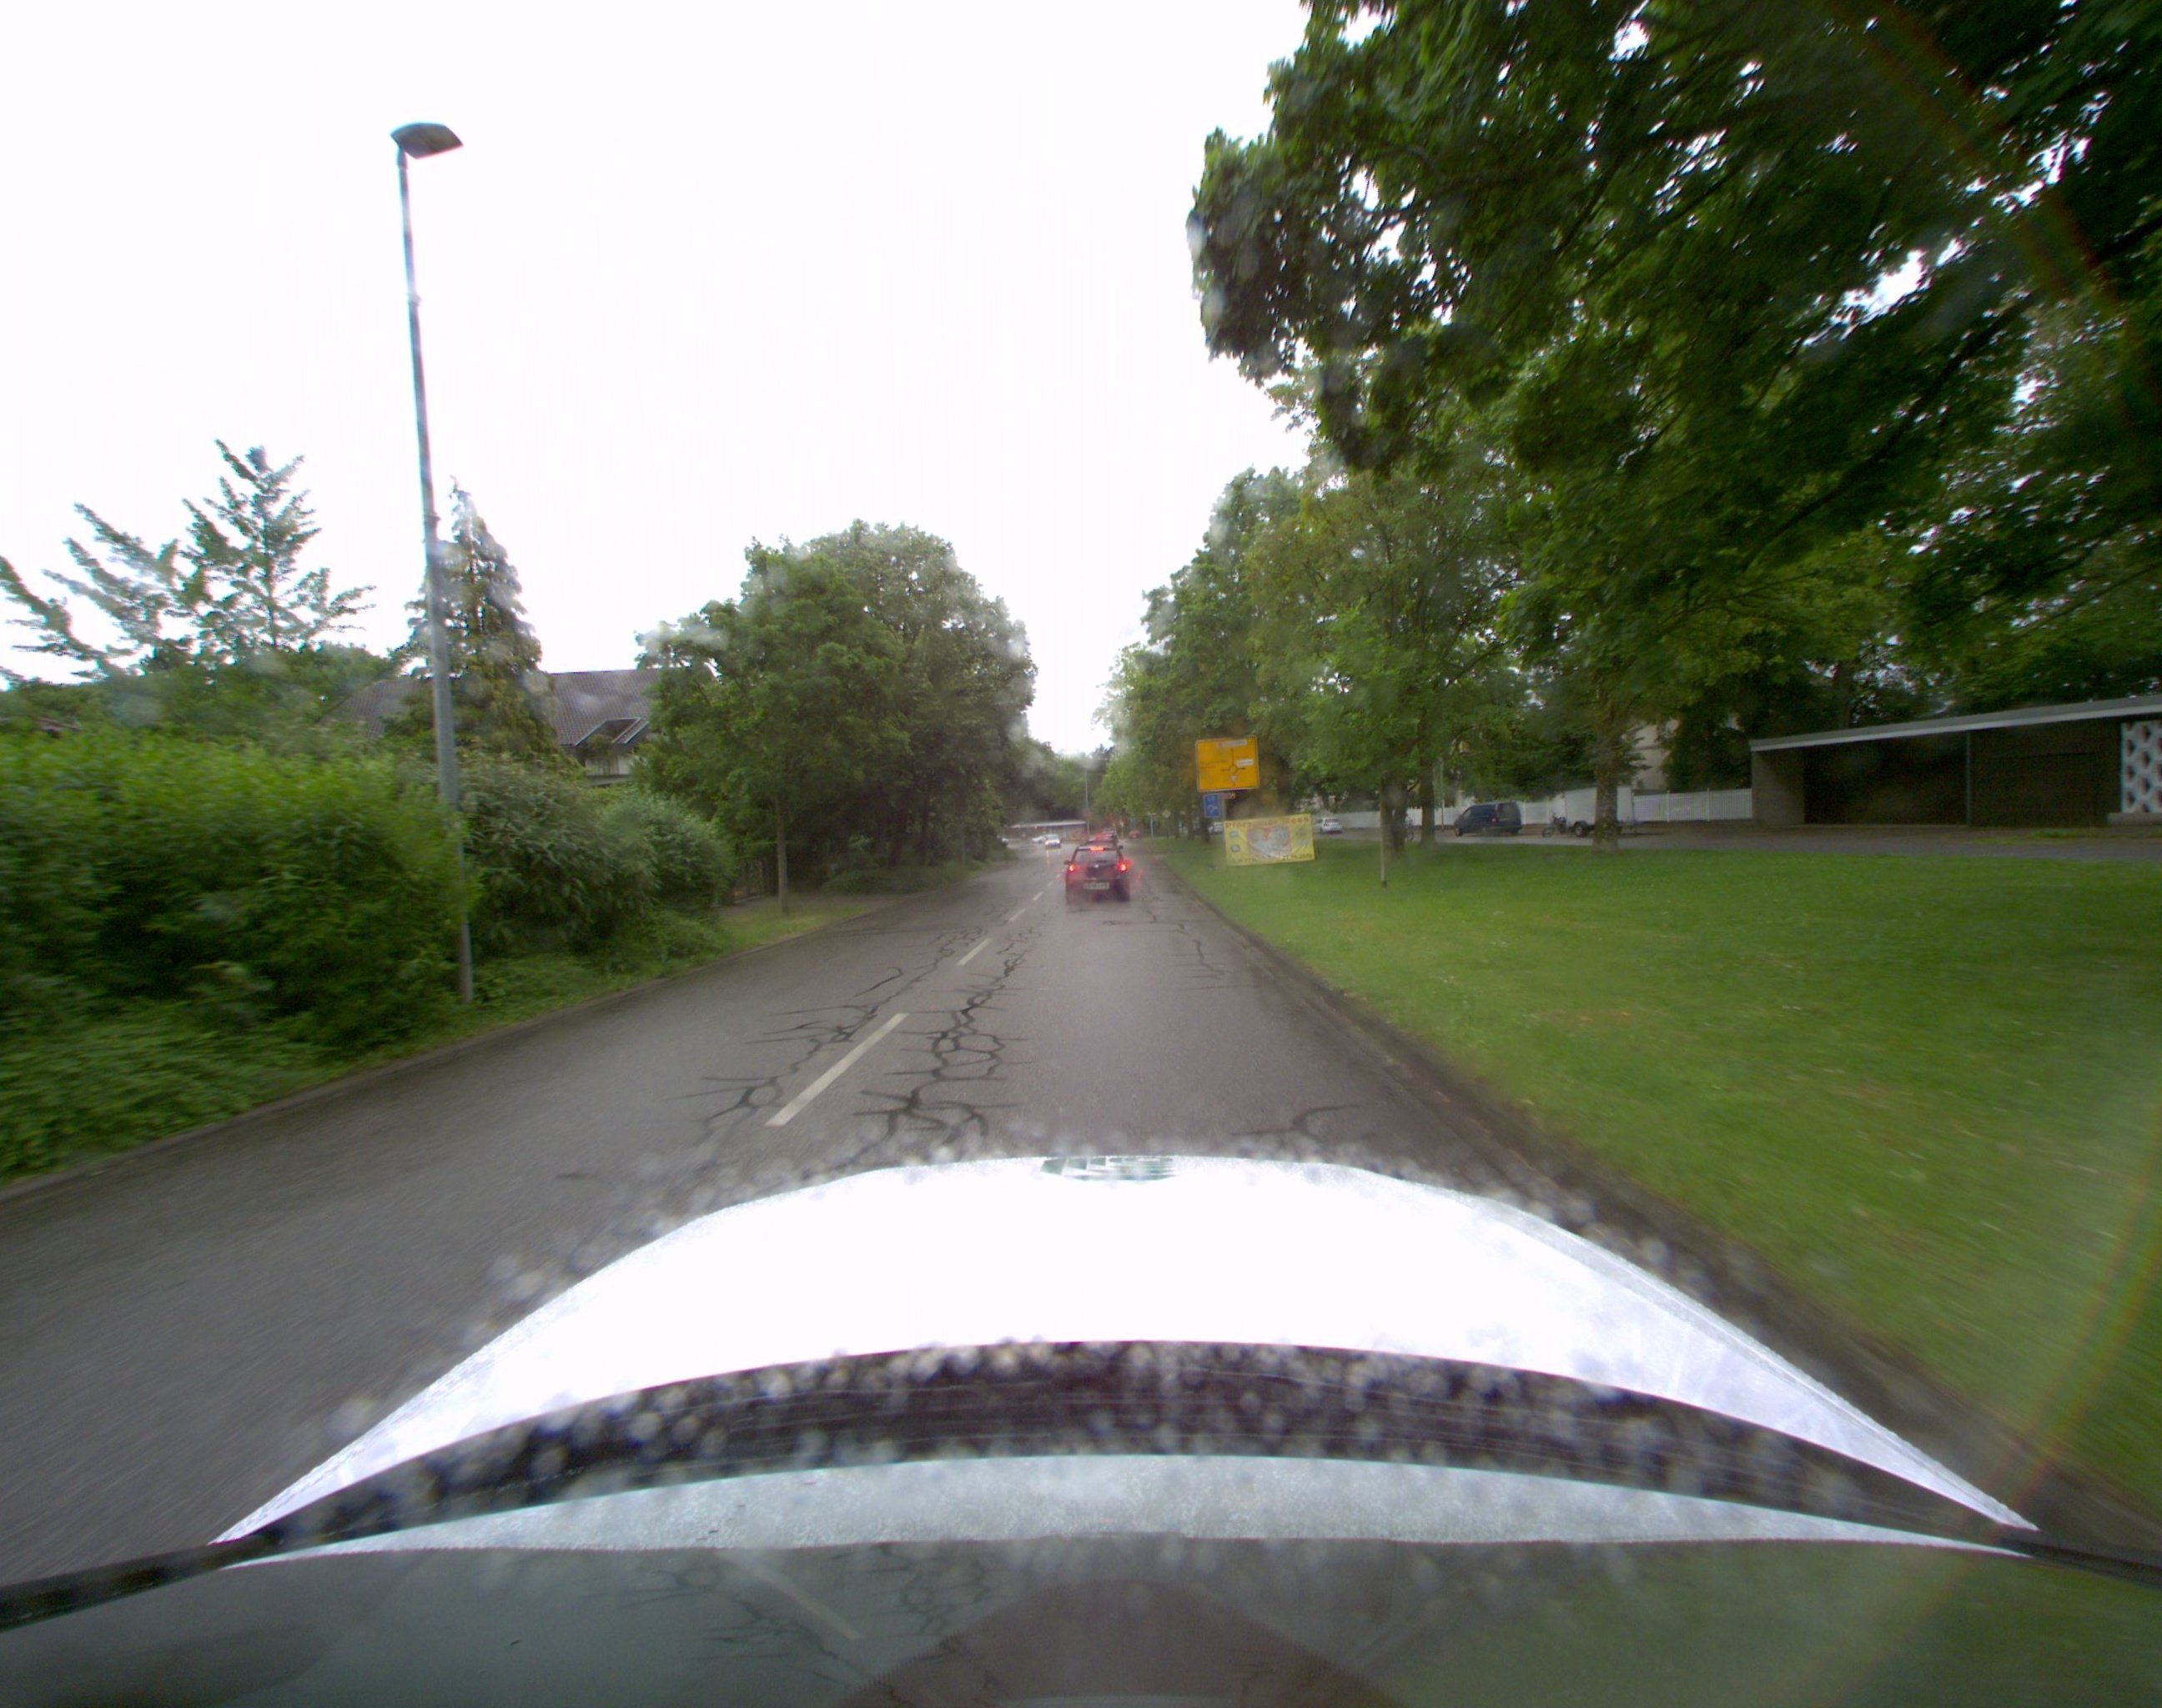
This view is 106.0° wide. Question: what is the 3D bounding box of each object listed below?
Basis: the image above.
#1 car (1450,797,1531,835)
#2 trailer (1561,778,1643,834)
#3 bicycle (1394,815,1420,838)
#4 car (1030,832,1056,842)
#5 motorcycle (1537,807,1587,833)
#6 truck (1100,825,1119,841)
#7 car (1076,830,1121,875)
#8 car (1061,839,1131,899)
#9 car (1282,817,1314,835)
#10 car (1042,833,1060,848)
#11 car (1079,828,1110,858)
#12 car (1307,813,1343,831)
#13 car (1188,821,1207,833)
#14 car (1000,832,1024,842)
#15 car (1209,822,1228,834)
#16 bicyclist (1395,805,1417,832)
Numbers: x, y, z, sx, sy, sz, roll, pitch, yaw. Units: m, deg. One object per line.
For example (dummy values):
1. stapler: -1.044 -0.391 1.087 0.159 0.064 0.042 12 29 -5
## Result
1. car: 22.156 -2.072 44.289 1.936 1.808 4.648 -5 2 -1
2. trailer: 22.352 -2.019 35.074 1.433 2.154 2.947 -4 1 -3
3. bicycle: 17.035 -1.429 42.606 0.593 1.138 1.864 -3 1 2
4. car: -6.319 -2.816 135.196 4.031 1.427 1.594 -6 3 -42
5. motorcycle: 22.042 -1.568 37.350 1.869 1.092 0.662 -2 3 21
6. truck: 3.817 -2.840 108.991 2.408 2.004 5.153 -3 1 1
7. car: 0.829 -0.123 36.807 1.848 1.784 4.003 -3 2 2
8. car: 0.457 0.365 23.050 1.792 1.515 3.756 -1 1 2
9. car: 20.885 -2.733 78.508 1.796 1.529 4.112 -4 2 -1
10. car: -3.413 -1.577 94.020 1.758 1.614 4.142 -4 1 1
11. car: 0.897 -0.729 52.909 1.848 1.784 4.003 -3 1 2
12. car: 21.202 -2.745 70.856 1.613 1.409 4.006 -4 2 -3
13. car: 14.714 -3.414 103.114 1.797 1.385 4.003 -5 2 2
14. car: -11.919 -2.923 141.228 3.825 1.617 1.756 -4 2 -42
15. car: 17.439 -3.308 103.355 1.797 1.406 4.003 -5 2 2
16. bicyclist: 17.011 -1.852 42.626 0.742 1.390 1.000 -3 1 2
